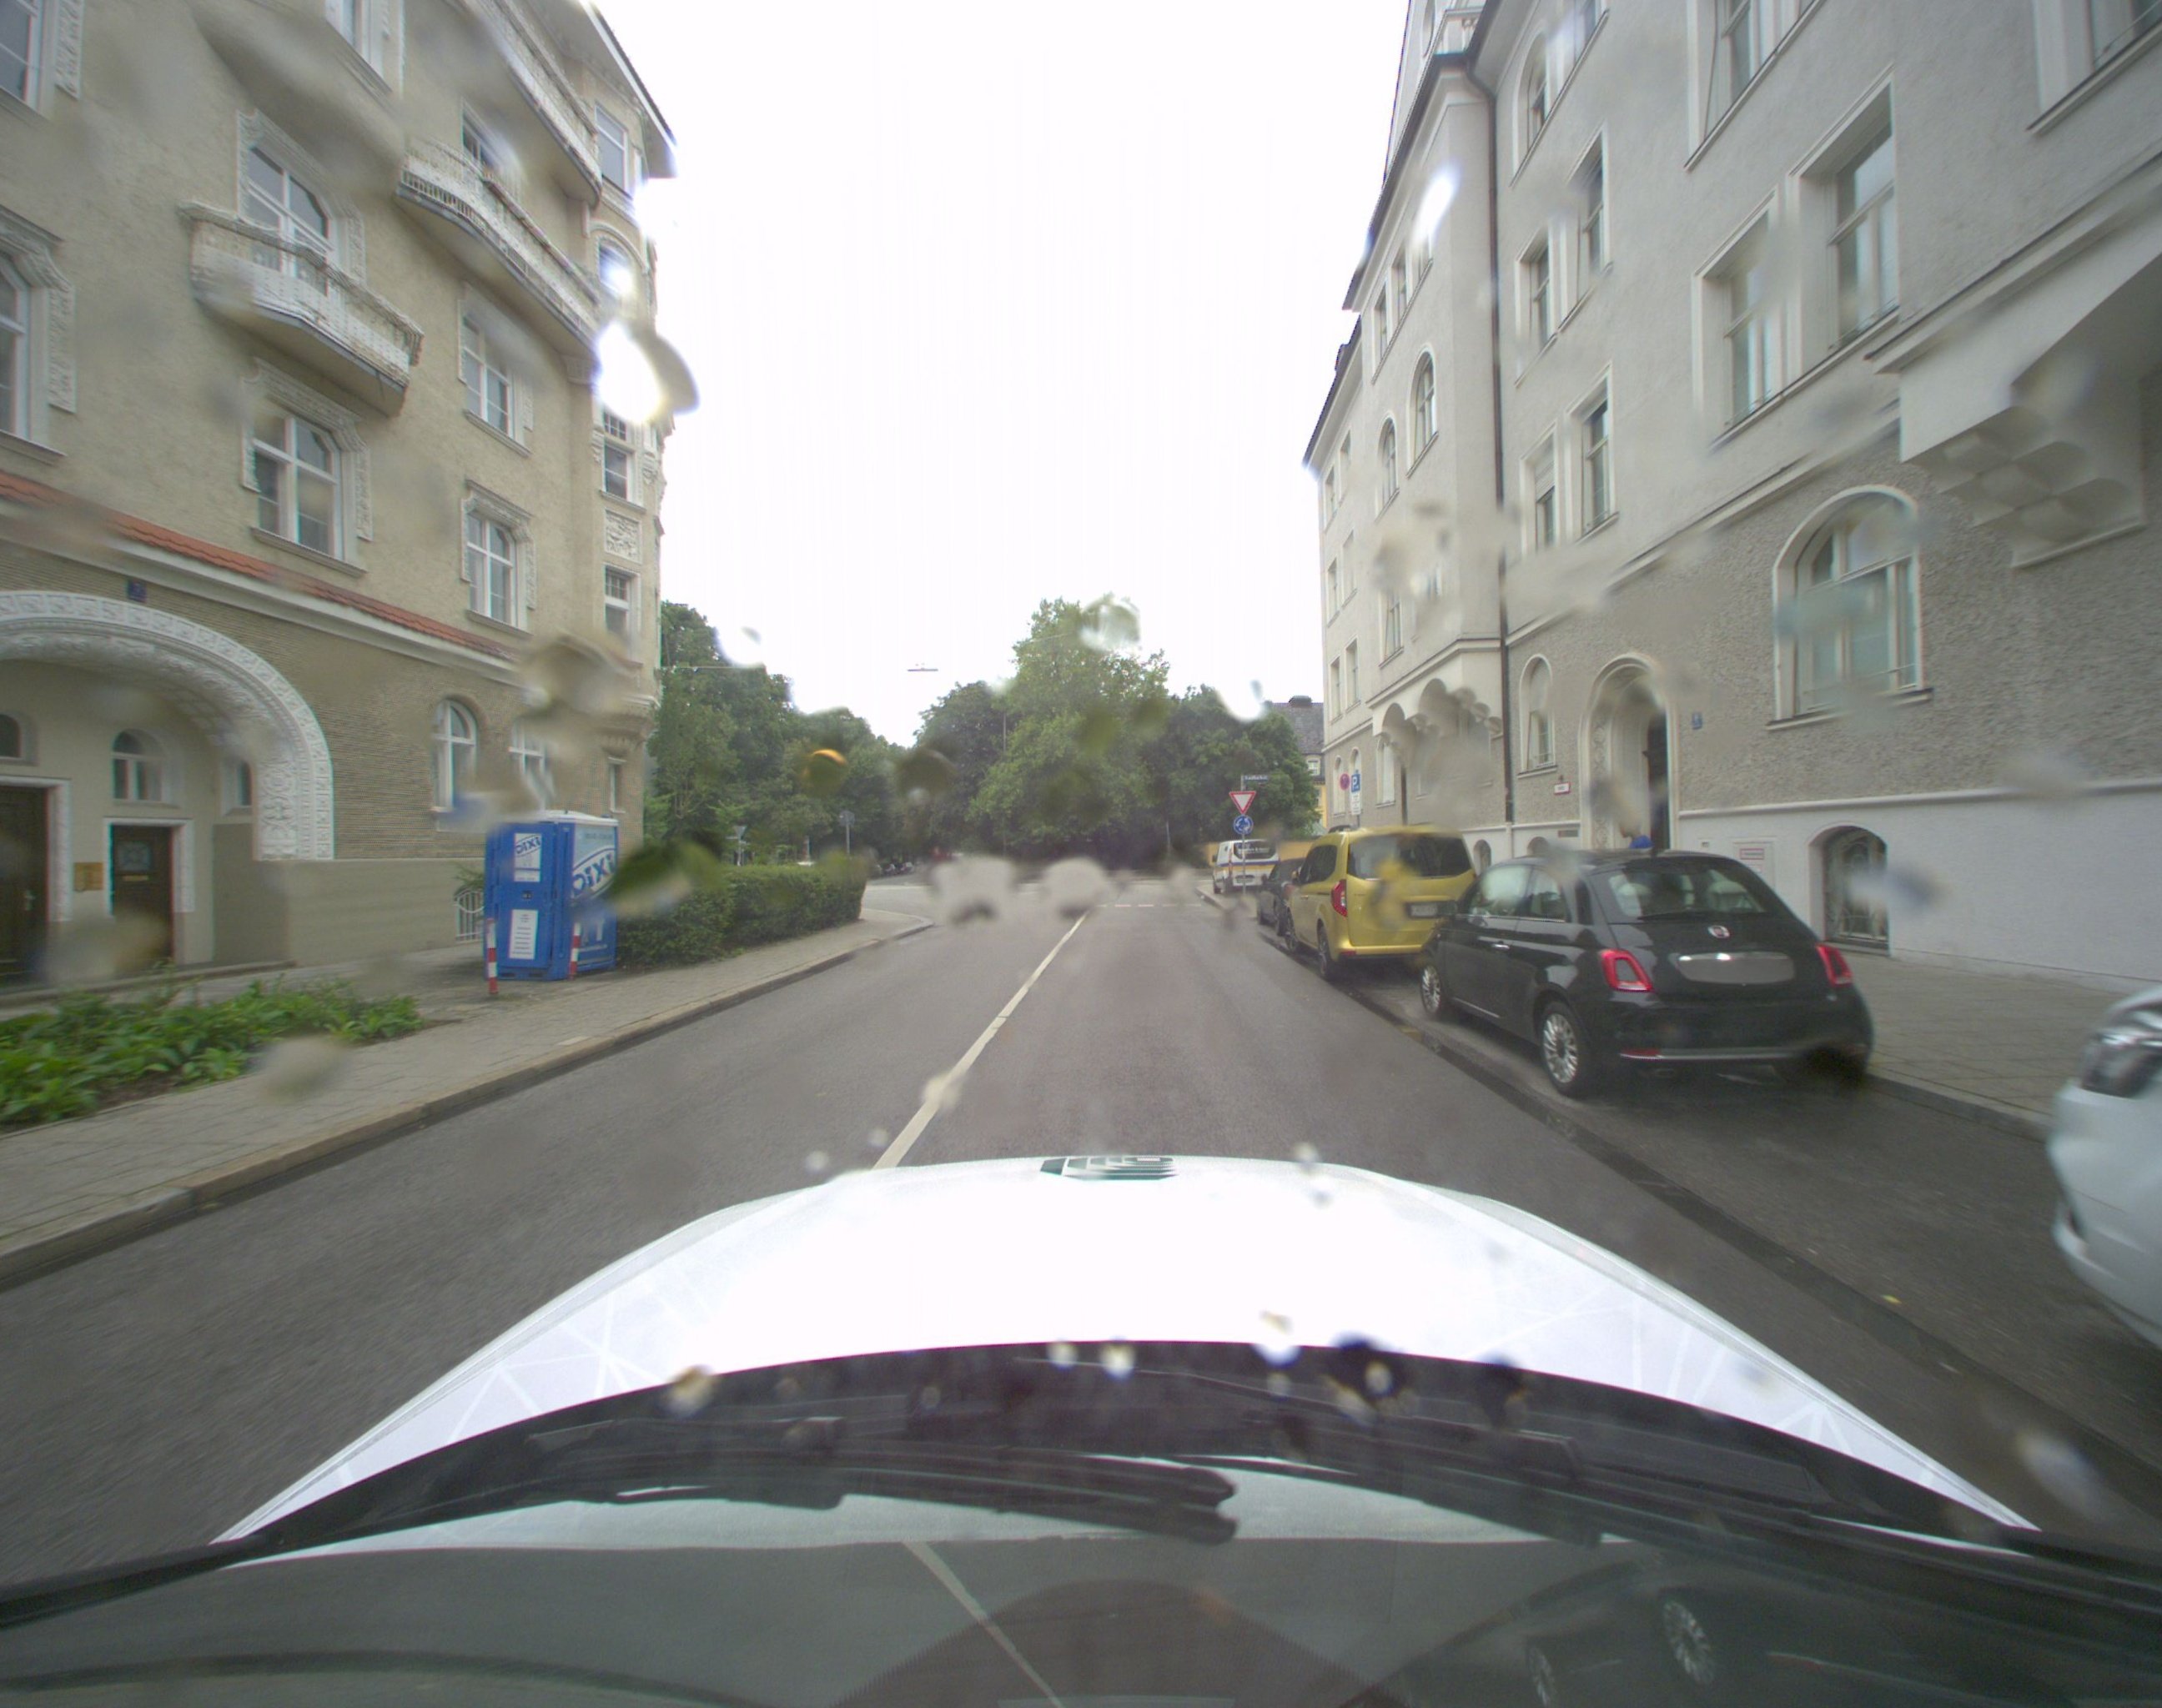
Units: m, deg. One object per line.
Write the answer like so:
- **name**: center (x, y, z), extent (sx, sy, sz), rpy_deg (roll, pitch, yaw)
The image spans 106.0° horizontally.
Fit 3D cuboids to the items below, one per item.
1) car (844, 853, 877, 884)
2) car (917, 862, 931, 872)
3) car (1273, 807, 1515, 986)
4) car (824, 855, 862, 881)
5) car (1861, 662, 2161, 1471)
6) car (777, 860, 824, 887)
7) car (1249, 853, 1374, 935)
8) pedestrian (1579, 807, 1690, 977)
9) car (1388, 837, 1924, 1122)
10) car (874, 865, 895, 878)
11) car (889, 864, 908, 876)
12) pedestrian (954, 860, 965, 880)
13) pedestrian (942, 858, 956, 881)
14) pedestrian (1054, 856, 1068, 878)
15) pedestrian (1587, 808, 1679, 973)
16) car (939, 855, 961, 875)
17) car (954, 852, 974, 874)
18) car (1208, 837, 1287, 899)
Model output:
- **car**: center (-22.930, 1.454, 84.845), extent (2.169, 3.002, 6.222), rpy_deg (-2, 0, -5)
- **car**: center (-25.474, 2.075, 132.104), extent (1.992, 1.487, 4.119), rpy_deg (-1, 0, -7)
- **car**: center (3.958, 0.475, 11.224), extent (1.983, 1.918, 4.579), rpy_deg (-2, 0, 6)
- **car**: center (-22.105, 1.288, 75.936), extent (2.079, 2.265, 5.595), rpy_deg (-3, 0, -4)
- **car**: center (3.481, 0.475, 0.188), extent (1.986, 1.918, 4.888), rpy_deg (-2, 0, 2)
- **car**: center (-21.156, 1.425, 61.639), extent (2.079, 1.903, 4.853), rpy_deg (-2, 0, -3)
- **car**: center (4.602, 0.737, 16.813), extent (1.705, 1.445, 3.831), rpy_deg (-2, 0, 4)
- **pedestrian**: center (5.902, 0.388, 8.728), extent (0.654, 1.729, 0.759), rpy_deg (-1, 0, 2)
- **car**: center (3.808, 0.681, 6.324), extent (1.626, 1.514, 3.890), rpy_deg (-1, 0, 4)
- **car**: center (-23.194, 2.041, 96.298), extent (1.992, 1.420, 4.119), rpy_deg (-1, 0, -7)
- **car**: center (-24.574, 2.146, 109.659), extent (1.992, 1.487, 4.119), rpy_deg (-1, 0, -7)
- **pedestrian**: center (-10.159, 1.347, 68.023), extent (0.636, 1.667, 0.691), rpy_deg (-1, -1, -26)
- **pedestrian**: center (-11.058, 1.297, 68.255), extent (0.825, 1.836, 0.943), rpy_deg (-1, -1, -31)
- **pedestrian**: center (-1.309, 0.840, 52.720), extent (0.765, 1.356, 1.133), rpy_deg (-1, 0, 5)
- **pedestrian**: center (5.894, 0.381, 8.714), extent (0.635, 1.702, 0.455), rpy_deg (-1, 0, 2)
- **car**: center (-13.316, 1.128, 82.981), extent (1.909, 1.937, 4.958), rpy_deg (-1, 0, -6)
- **car**: center (-14.131, 1.077, 98.657), extent (1.990, 2.558, 5.422), rpy_deg (-2, 0, -4)
- **car**: center (5.892, 0.462, 29.458), extent (1.930, 1.922, 5.378), rpy_deg (-3, 0, 3)
